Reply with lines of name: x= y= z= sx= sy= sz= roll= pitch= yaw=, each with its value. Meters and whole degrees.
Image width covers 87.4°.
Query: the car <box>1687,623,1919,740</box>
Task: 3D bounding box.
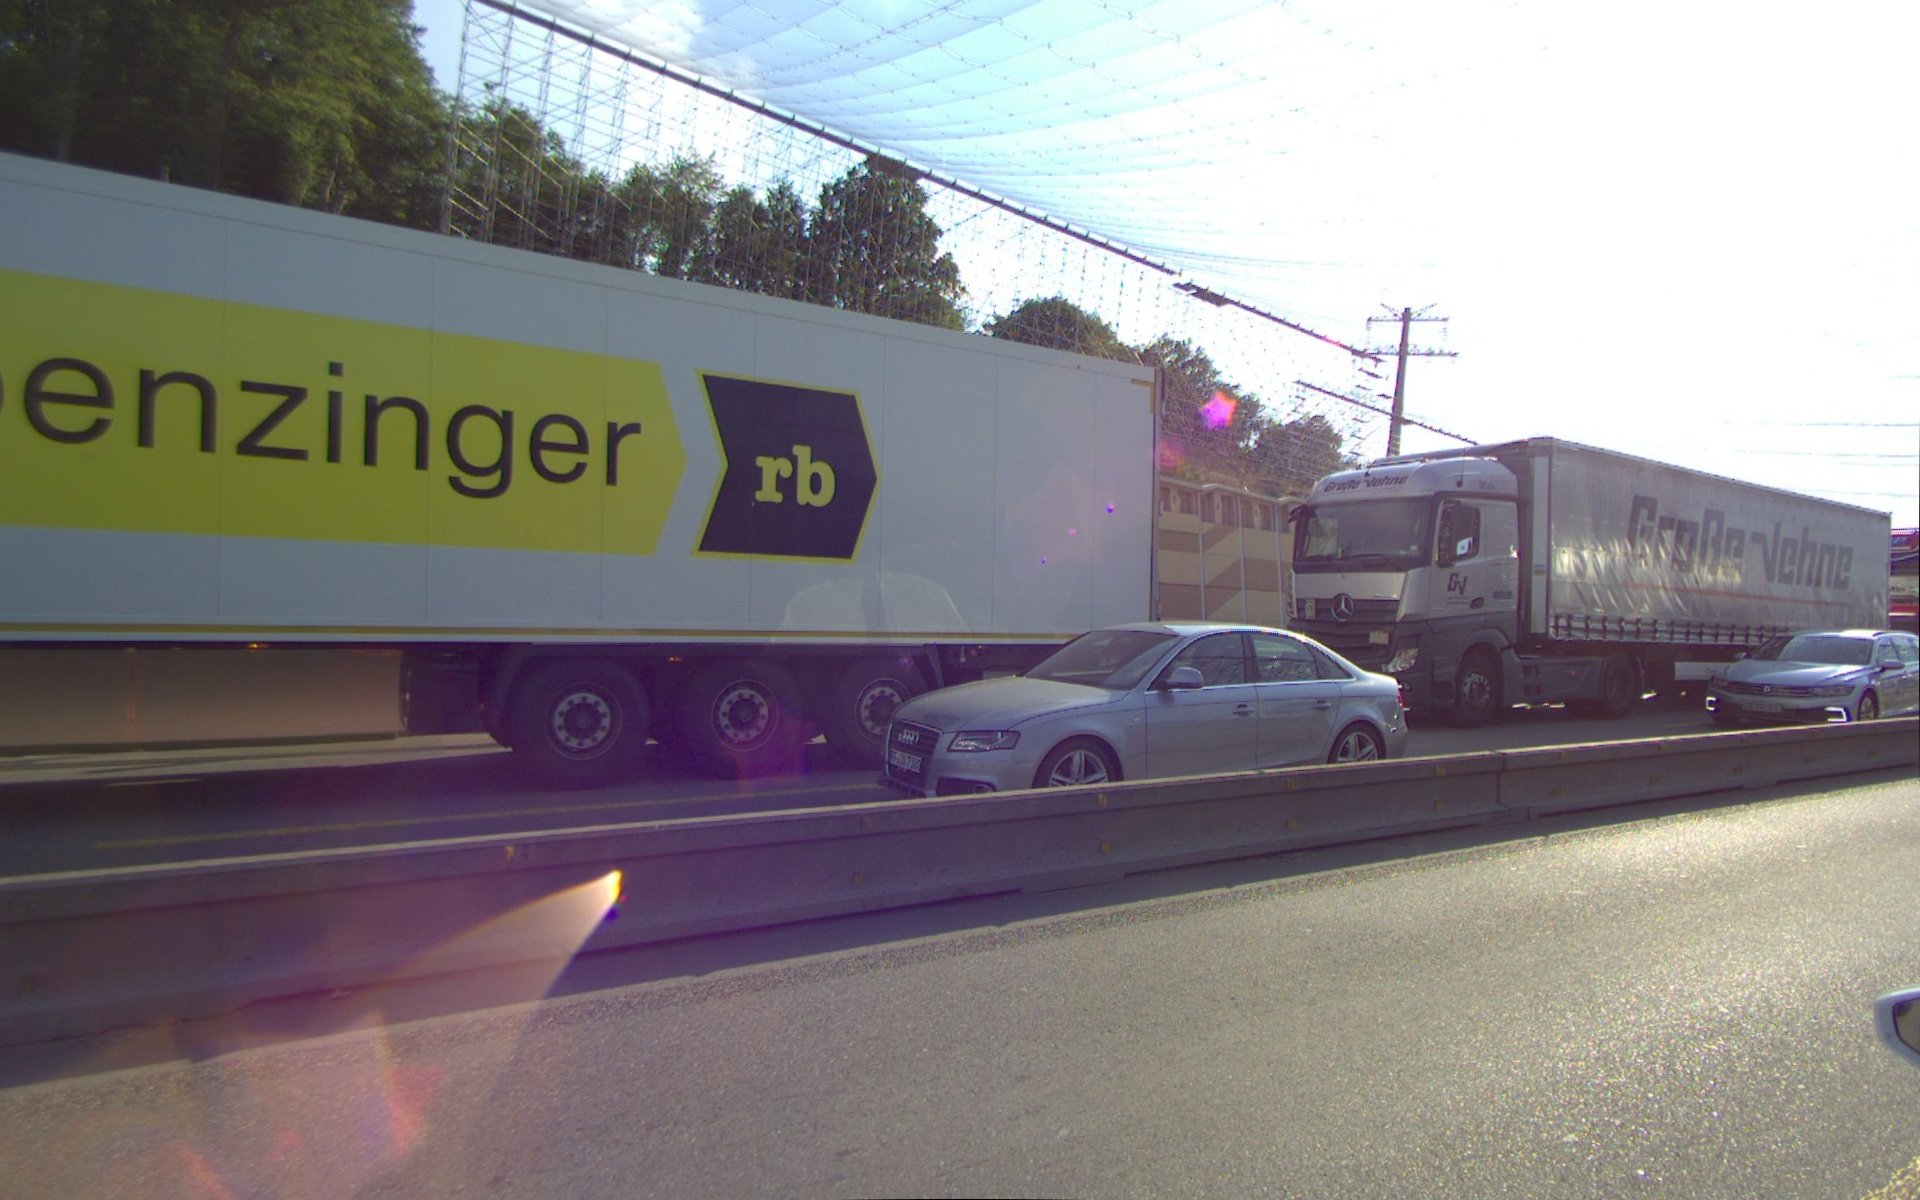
car: x=13.230 y=1.161 z=15.288 sx=4.782 sy=1.458 sz=1.723 roll=2 pitch=2 yaw=-31

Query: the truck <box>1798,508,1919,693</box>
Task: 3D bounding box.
truck: x=24.032 y=0.120 z=25.322 sx=6.612 sy=4.196 sz=2.769 roll=2 pitch=-1 yaw=-35

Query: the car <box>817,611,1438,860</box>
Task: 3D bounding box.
car: x=1.467 y=0.873 z=7.894 sx=4.835 sy=1.396 sz=1.722 roll=2 pitch=1 yaw=-31

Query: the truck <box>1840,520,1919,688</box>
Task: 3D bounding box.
truck: x=29.527 y=0.321 z=29.138 sx=13.668 sy=4.196 sz=2.769 roll=2 pitch=-1 yaw=-35

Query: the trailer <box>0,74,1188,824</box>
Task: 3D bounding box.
trailer: x=-4.211 y=-0.802 z=8.331 sx=13.720 sy=4.391 sz=2.752 roll=2 pitch=-1 yaw=-31

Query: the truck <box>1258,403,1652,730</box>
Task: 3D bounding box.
truck: x=7.776 y=-0.340 z=15.644 sx=5.867 sy=4.196 sz=2.773 roll=2 pitch=-1 yaw=-32

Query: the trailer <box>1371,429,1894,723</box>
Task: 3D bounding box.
trailer: x=13.468 y=-0.127 z=19.168 sx=13.809 sy=4.196 sz=2.784 roll=2 pitch=-1 yaw=-32
